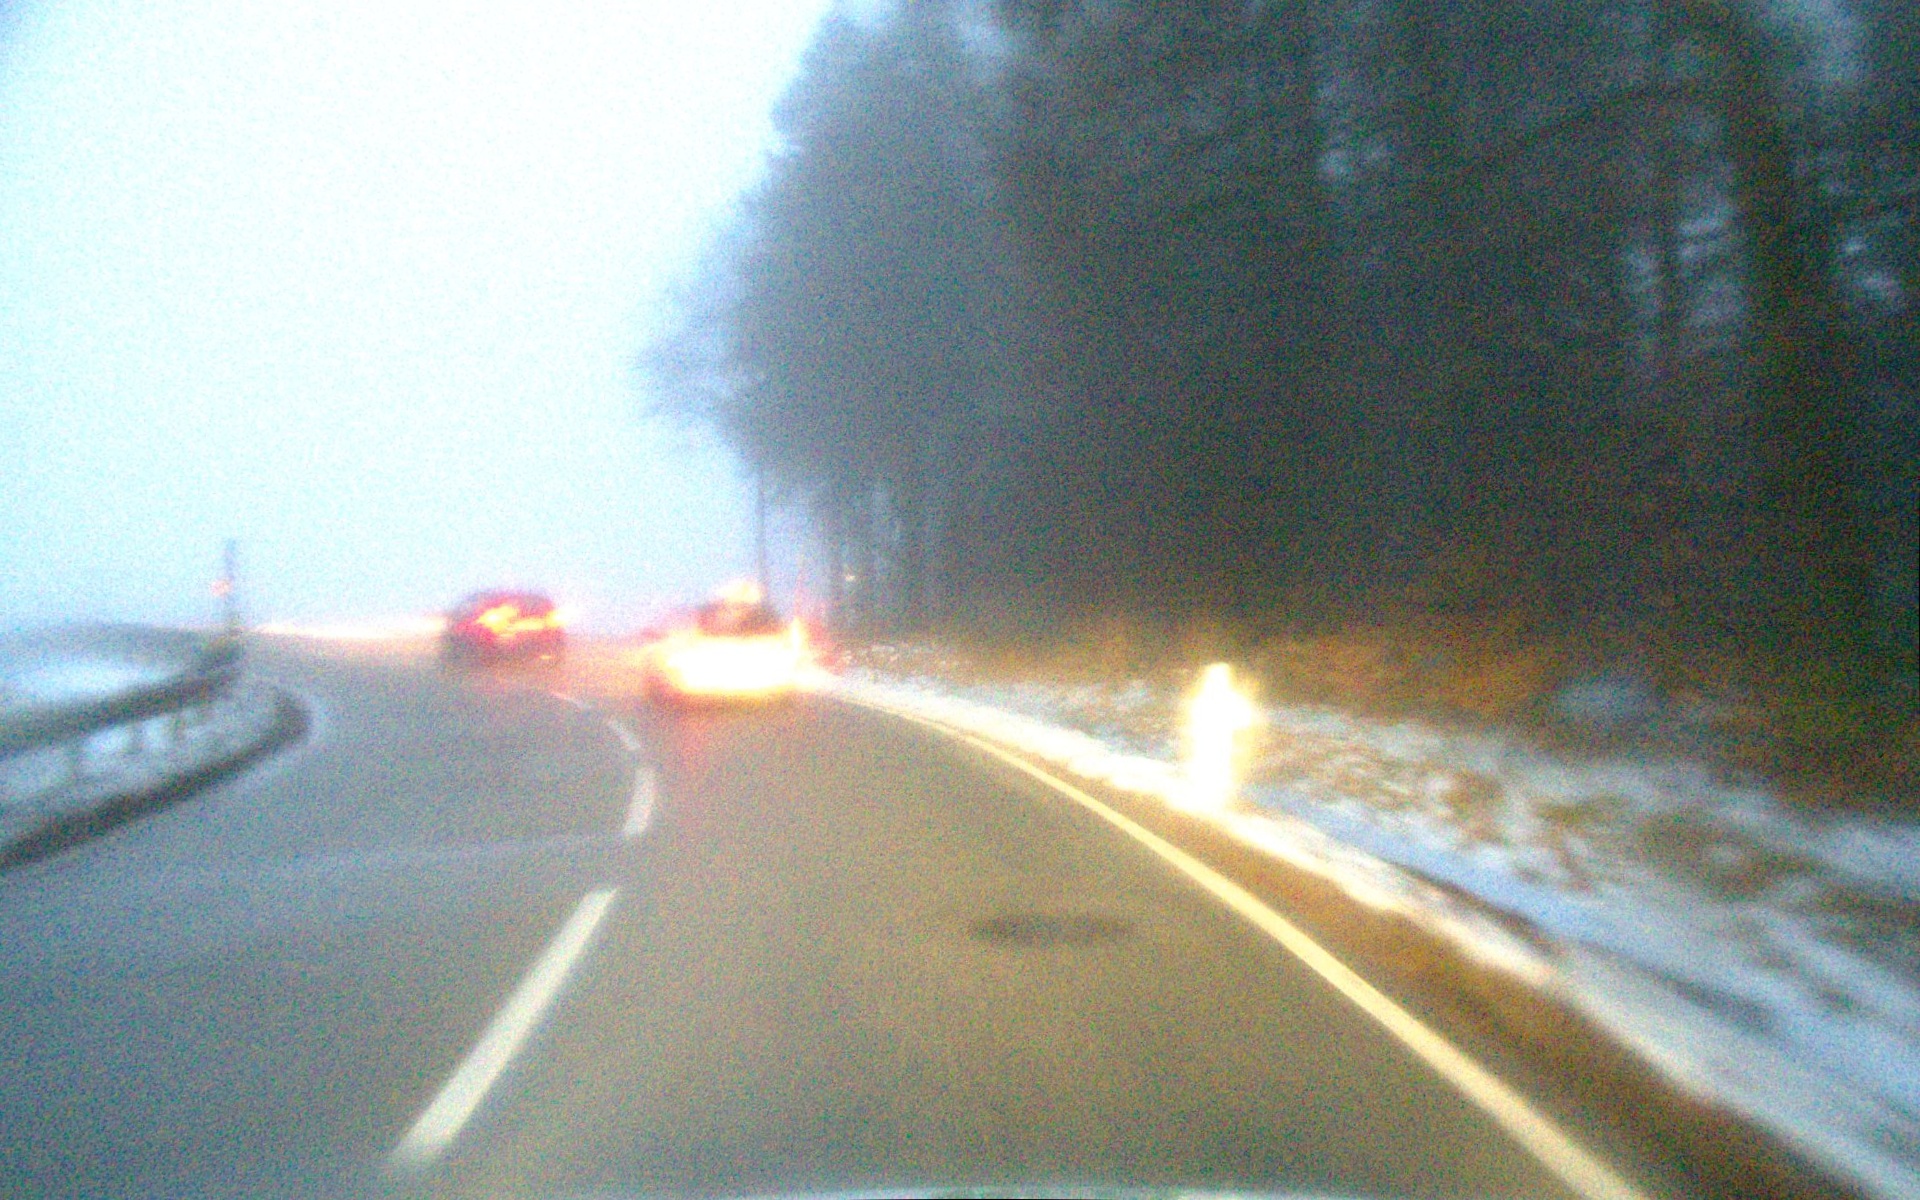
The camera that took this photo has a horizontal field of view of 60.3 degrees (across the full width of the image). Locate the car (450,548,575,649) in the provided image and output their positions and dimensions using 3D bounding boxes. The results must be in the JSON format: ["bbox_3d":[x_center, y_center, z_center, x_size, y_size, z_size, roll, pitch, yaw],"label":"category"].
[{"bbox_3d":[-9.111,-0.072,33.474,1.965,1.813,3.976,4,0,-21],"label":"car"}]

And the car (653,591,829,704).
[{"bbox_3d":[-3.114,0.578,22.863,1.914,1.405,3.984,0,0,-15],"label":"car"}]
